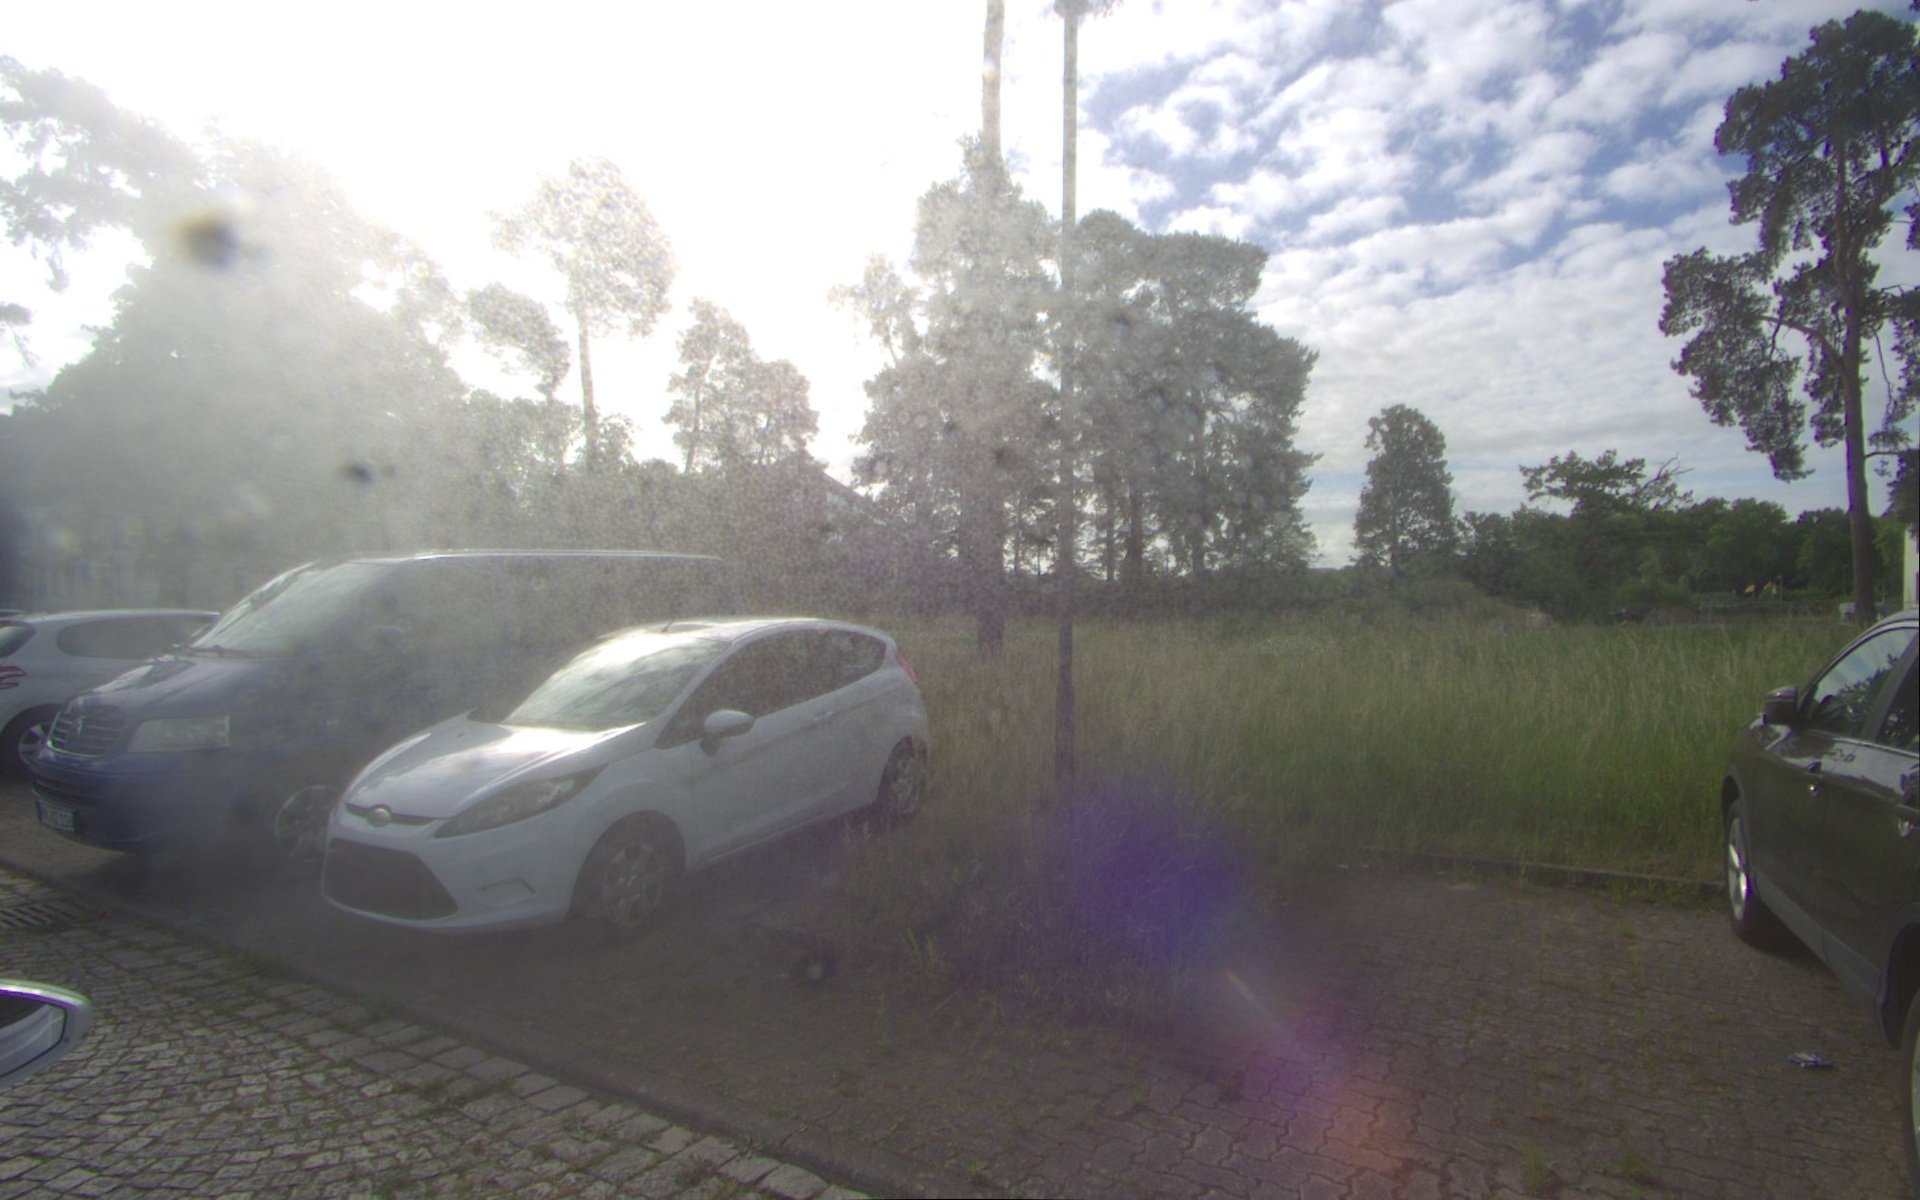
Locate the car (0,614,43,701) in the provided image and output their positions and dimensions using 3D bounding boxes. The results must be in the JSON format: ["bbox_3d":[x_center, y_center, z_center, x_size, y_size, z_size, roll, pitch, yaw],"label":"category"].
[{"bbox_3d":[-15.588,0.863,14.316,1.637,1.284,3.292,1,0,25],"label":"car"}]

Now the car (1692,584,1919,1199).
[{"bbox_3d":[3.636,0.780,3.034,1.735,1.601,3.947,1,0,28],"label":"car"}]

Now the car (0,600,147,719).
[{"bbox_3d":[-13.110,0.767,13.247,1.635,1.524,3.296,1,0,20],"label":"car"}]

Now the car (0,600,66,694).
[{"bbox_3d":[-17.159,0.766,16.003,1.637,1.564,3.987,1,0,25],"label":"car"}]

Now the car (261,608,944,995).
[{"bbox_3d":[-1.704,0.817,5.989,1.629,1.443,3.718,1,1,28],"label":"car"}]

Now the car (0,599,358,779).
[{"bbox_3d":[-8.224,0.770,10.151,1.638,1.524,3.289,1,0,29],"label":"car"}]

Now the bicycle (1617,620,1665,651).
[{"bbox_3d":[33.440,1.747,49.174,1.906,1.499,0.652,0,-1,32],"label":"bicycle"}]

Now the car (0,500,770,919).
[{"bbox_3d":[-3.648,0.564,7.446,1.712,2.067,4.776,1,0,30],"label":"car"}]

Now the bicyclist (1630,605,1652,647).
[{"bbox_3d":[33.435,1.300,49.178,0.836,2.039,0.656,0,-1,32],"label":"bicyclist"}]

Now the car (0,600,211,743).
[{"bbox_3d":[-10.931,0.766,11.363,1.635,1.526,3.602,1,0,20],"label":"car"}]
